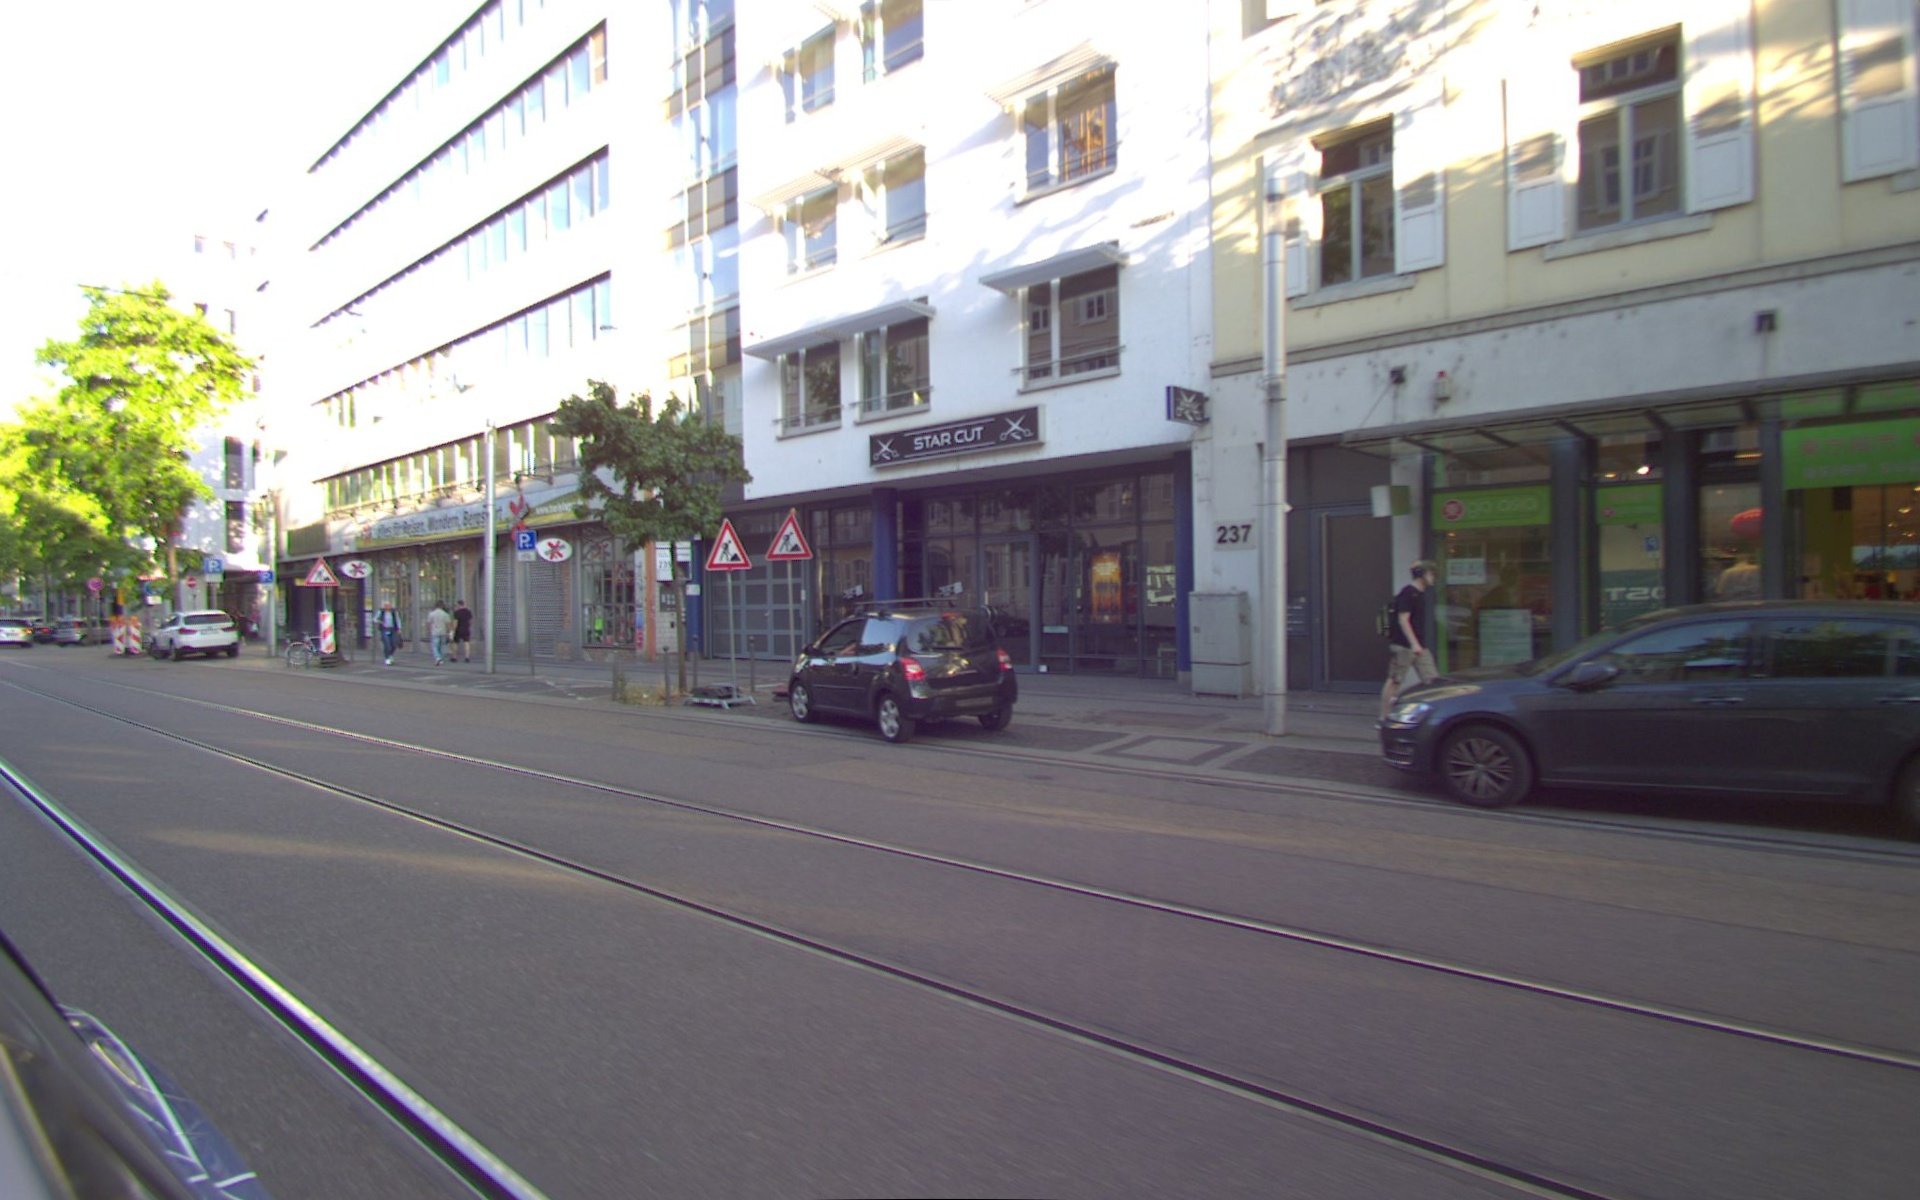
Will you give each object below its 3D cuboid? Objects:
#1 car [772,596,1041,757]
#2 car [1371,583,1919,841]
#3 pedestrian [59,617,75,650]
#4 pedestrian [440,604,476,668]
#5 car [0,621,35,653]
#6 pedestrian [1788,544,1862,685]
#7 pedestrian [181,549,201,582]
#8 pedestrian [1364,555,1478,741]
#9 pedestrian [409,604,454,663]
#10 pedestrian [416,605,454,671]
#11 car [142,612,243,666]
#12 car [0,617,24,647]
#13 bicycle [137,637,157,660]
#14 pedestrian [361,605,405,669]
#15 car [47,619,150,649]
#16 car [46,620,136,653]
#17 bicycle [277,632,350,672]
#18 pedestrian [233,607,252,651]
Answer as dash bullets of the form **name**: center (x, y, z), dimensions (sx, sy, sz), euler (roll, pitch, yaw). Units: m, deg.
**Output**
- **car**: center (-0.805, 0.825, 12.594), dimensions (1.608, 1.628, 3.718), euler (-3, 1, -34)
- **car**: center (5.424, 0.676, 7.336), dimensions (4.233, 1.501, 1.776), euler (-1, 1, 35)
- **pedestrian**: center (-52.210, 1.957, 59.165), dimensions (0.723, 1.948, 0.647), euler (-2, -1, 43)
- **pedestrian**: center (-13.974, 0.990, 28.169), dimensions (0.620, 1.725, 0.808), euler (-2, 0, -45)
- **car**: center (-50.677, 1.959, 53.722), dimensions (4.198, 1.624, 1.864), euler (-2, -3, 41)
- **pedestrian**: center (11.386, 0.193, 13.339), dimensions (0.684, 1.792, 0.662), euler (-2, -1, 40)
- **pedestrian**: center (-39.162, -1.748, 51.516), dimensions (0.611, 1.658, 0.716), euler (-2, -1, 43)
- **pedestrian**: center (4.827, 0.477, 10.608), dimensions (0.878, 1.839, 0.653), euler (-2, 2, 42)
- **pedestrian**: center (-16.159, 1.019, 30.957), dimensions (1.037, 1.708, 0.824), euler (-2, 2, 41)
- **pedestrian**: center (-14.261, 1.016, 27.484), dimensions (0.634, 1.725, 0.830), euler (-2, 0, -45)
- **car**: center (-28.026, 1.399, 36.906), dimensions (4.742, 1.767, 1.973), euler (-2, 1, 41)
- **car**: center (-59.157, 1.968, 62.140), dimensions (4.198, 1.820, 2.012), euler (-2, -2, 41)
- **bicycle**: center (-32.932, 1.947, 40.976), dimensions (0.496, 0.843, 1.536), euler (-4, 2, -43)
- **pedestrian**: center (-16.252, 1.027, 28.505), dimensions (0.831, 1.779, 0.842), euler (-2, -1, 39)
- **car**: center (-50.031, 1.948, 58.855), dimensions (1.568, 1.423, 4.286), euler (-1, 2, 23)
- **car**: center (-48.202, 2.014, 56.199), dimensions (1.772, 1.572, 3.387), euler (-1, 2, 13)
- **bicycle**: center (-19.095, 1.525, 29.920), dimensions (1.724, 0.999, 0.479), euler (-5, 2, -42)
- **pedestrian**: center (-33.400, 1.366, 47.119), dimensions (0.592, 2.029, 0.608), euler (-2, -1, 40)
